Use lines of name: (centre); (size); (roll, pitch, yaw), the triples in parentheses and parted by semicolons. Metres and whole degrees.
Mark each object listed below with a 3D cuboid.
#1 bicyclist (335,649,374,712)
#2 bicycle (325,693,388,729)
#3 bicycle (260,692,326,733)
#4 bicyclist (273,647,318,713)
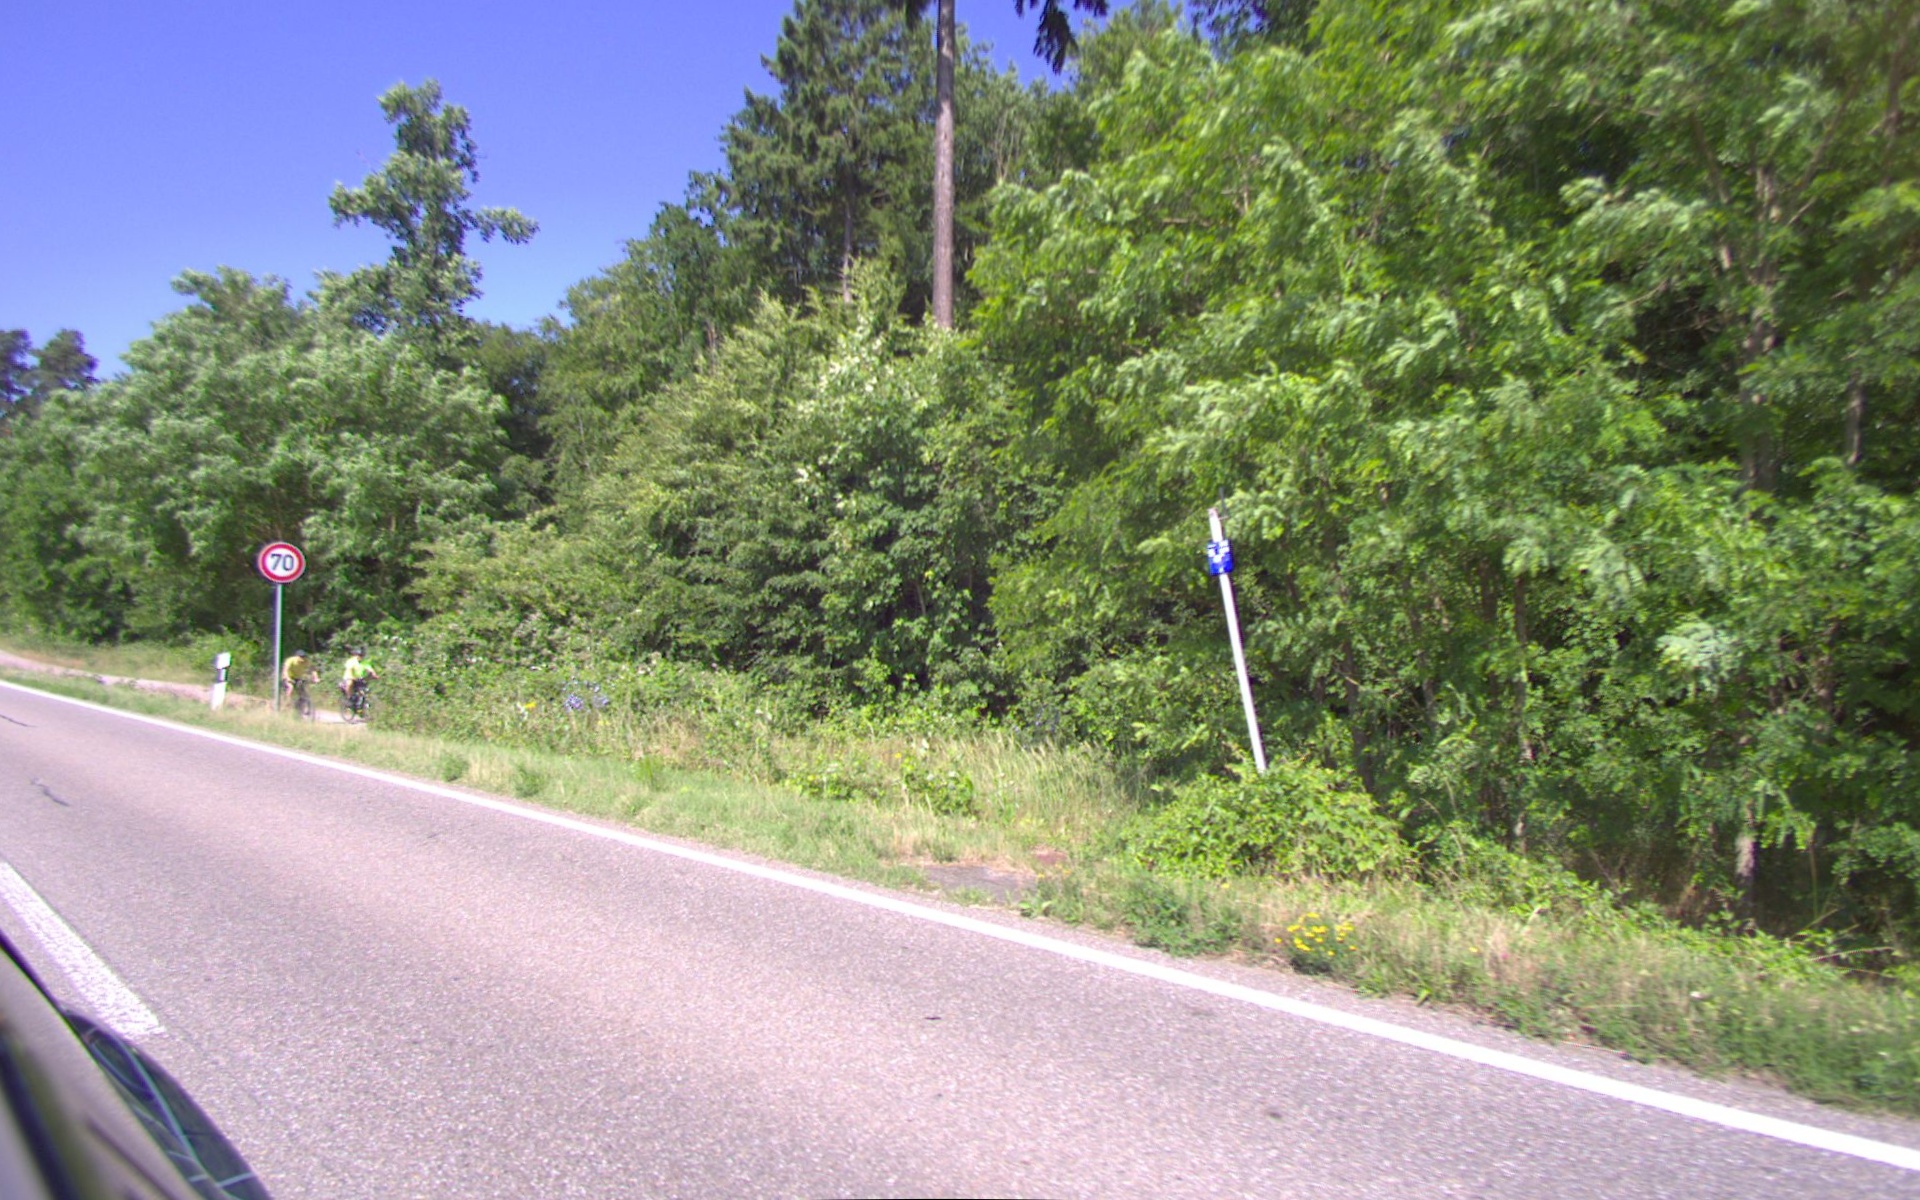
bicyclist: (-14.449, 1.908, 24.165); (0.702, 1.426, 0.599); (1, 2, 40)
bicycle: (-14.401, 2.627, 24.139); (2.135, 0.686, 0.613); (0, -2, 40)
bicycle: (-15.014, 2.506, 22.763); (2.135, 0.794, 0.633); (-2, -5, 41)
bicyclist: (-14.969, 1.796, 22.790); (0.702, 1.426, 0.599); (-1, -4, 40)
